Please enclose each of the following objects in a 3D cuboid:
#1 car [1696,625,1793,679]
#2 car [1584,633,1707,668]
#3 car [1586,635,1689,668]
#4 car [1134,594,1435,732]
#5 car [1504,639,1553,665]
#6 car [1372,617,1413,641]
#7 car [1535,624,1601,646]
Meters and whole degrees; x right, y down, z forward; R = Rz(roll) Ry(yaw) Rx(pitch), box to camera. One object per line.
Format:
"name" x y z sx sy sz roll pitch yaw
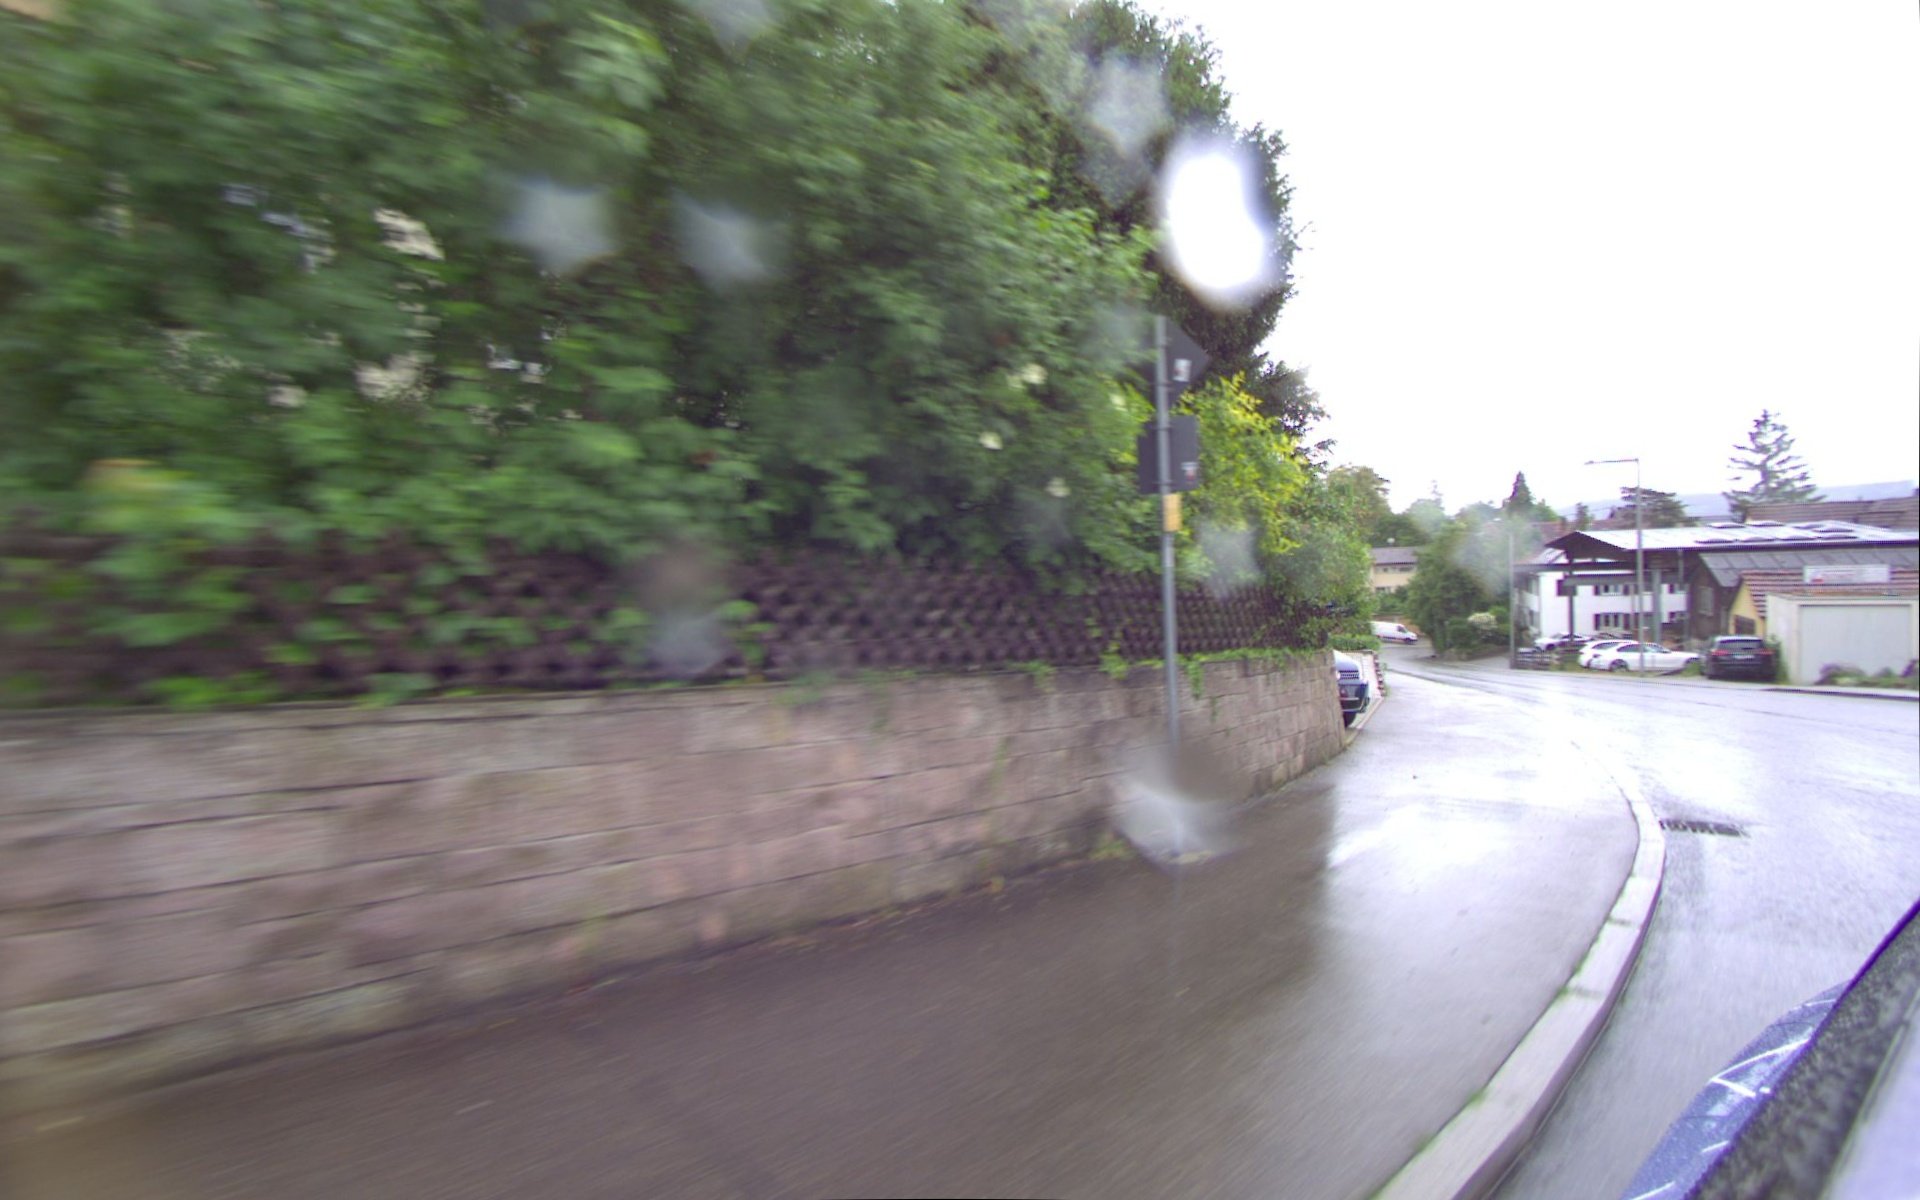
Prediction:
"car" 26.508 1.732 34.348 1.964 1.681 4.906 -2 -3 31
"car" 31.005 2.299 45.946 4.473 1.525 1.879 -2 -3 31
"car" 32.581 2.447 48.681 3.977 1.525 1.874 -2 -3 38
"car" 4.499 0.827 14.812 1.817 1.627 4.348 5 -2 -20
"car" 34.202 3.128 61.012 1.877 1.460 4.415 1 -2 20
"car" 52.577 3.501 123.007 4.233 2.786 1.994 1 2 11
"car" 45.539 2.622 75.894 3.949 1.527 1.792 -1 0 20
